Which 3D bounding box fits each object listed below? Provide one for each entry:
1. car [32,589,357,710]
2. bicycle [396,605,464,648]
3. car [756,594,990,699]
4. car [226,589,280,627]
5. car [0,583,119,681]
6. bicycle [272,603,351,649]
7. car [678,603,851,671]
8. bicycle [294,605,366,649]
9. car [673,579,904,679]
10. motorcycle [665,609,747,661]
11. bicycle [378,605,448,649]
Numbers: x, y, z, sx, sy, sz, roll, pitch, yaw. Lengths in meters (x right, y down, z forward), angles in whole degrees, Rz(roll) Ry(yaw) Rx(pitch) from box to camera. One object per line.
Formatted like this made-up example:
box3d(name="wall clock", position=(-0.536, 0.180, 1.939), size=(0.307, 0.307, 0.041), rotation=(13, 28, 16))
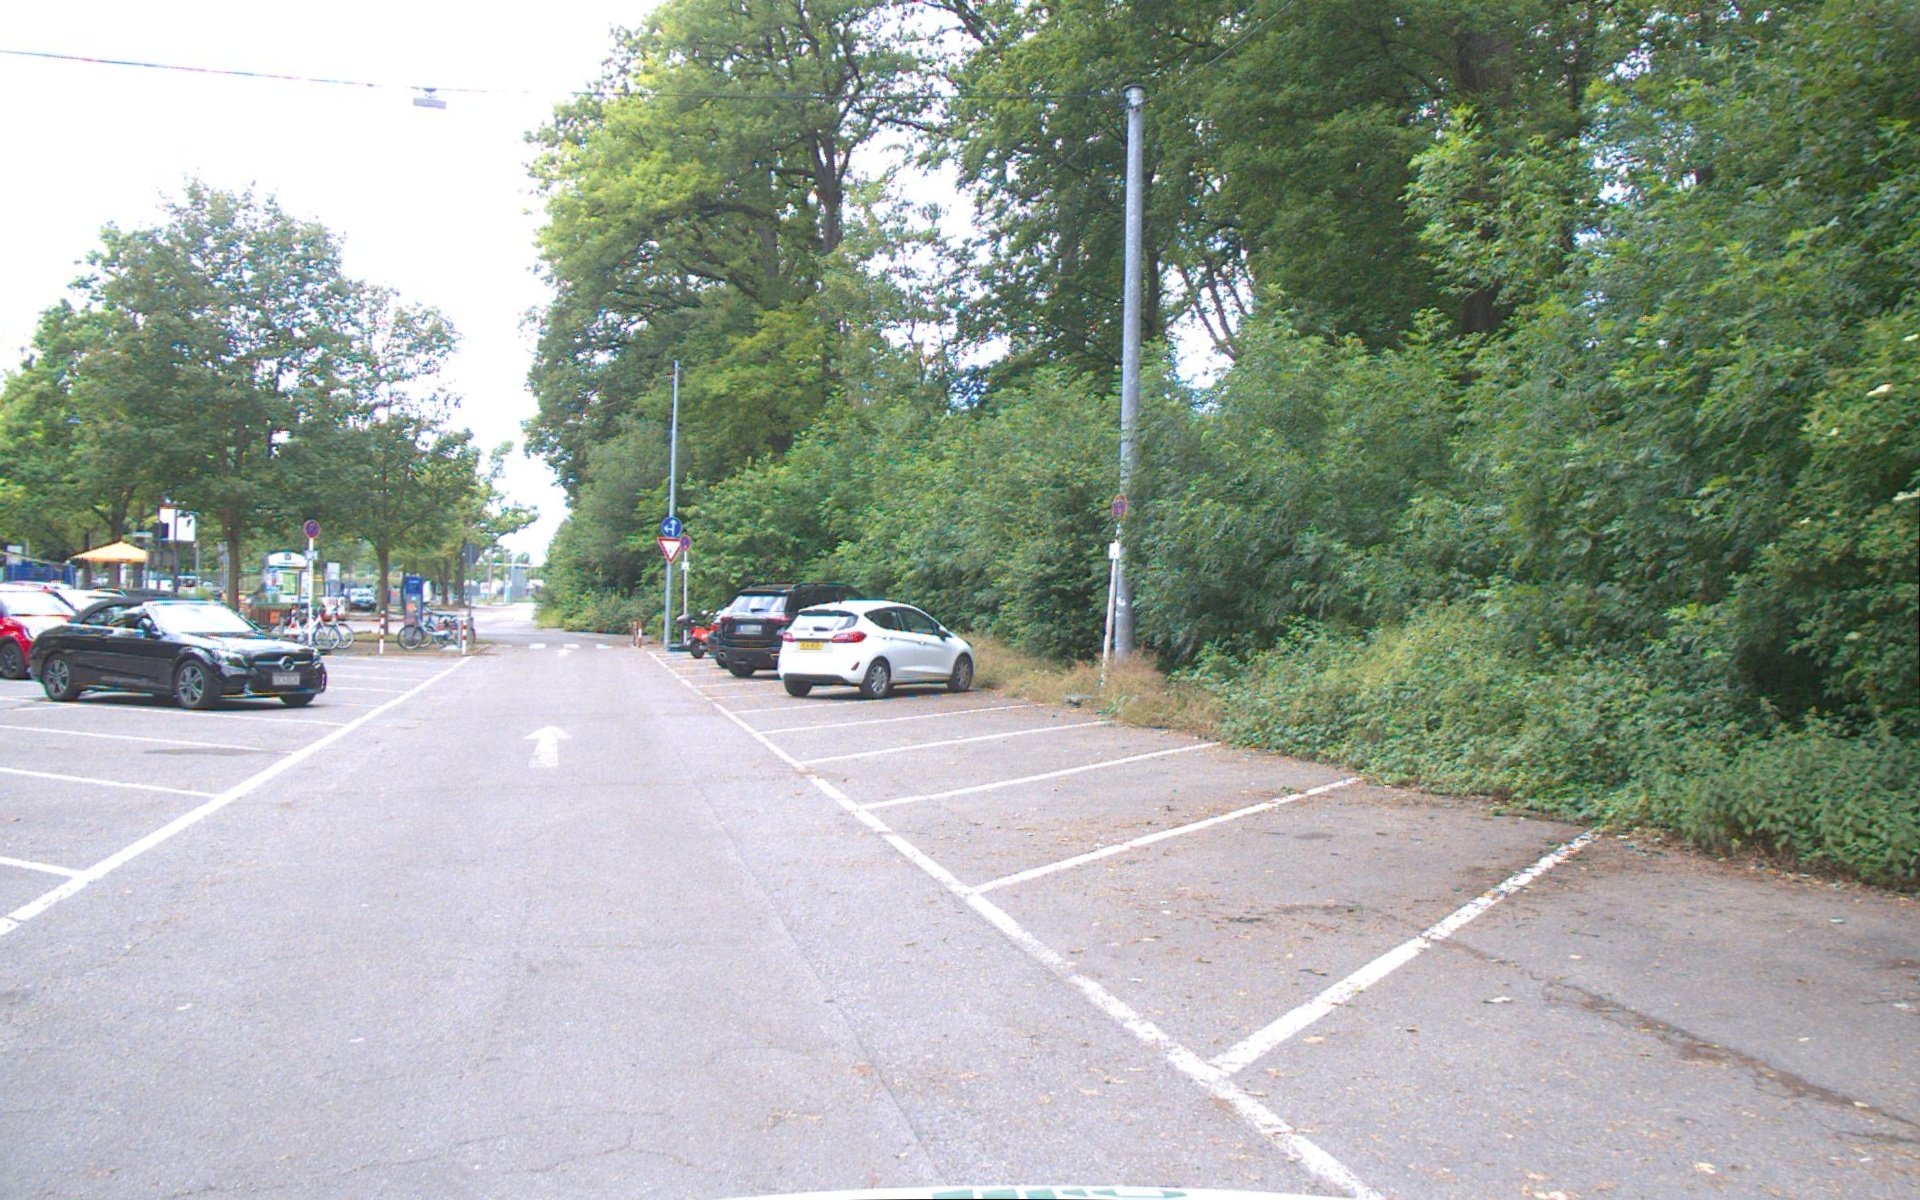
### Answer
box3d(name="car", position=(-10.451, 0.624, 22.544), size=(4.220, 1.467, 1.867), rotation=(1, 0, 28))
box3d(name="bicycle", position=(-14.252, 0.707, 44.520), size=(1.659, 1.131, 0.482), rotation=(1, 0, -6))
box3d(name="car", position=(-1.319, 0.714, 26.679), size=(1.830, 1.537, 3.990), rotation=(1, -1, 31))
box3d(name="car", position=(-33.456, 0.368, 78.184), size=(1.909, 1.699, 4.303), rotation=(1, 0, -29))
box3d(name="car", position=(-16.654, 0.518, 28.966), size=(3.573, 1.613, 1.684), rotation=(1, 0, 28))
box3d(name="bicycle", position=(-16.262, 0.660, 41.495), size=(1.751, 1.131, 0.481), rotation=(1, 0, -11))
box3d(name="car", position=(-4.273, 0.779, 36.706), size=(1.703, 1.400, 3.990), rotation=(1, 0, 31))
box3d(name="bicycle", position=(-16.325, 0.699, 42.890), size=(1.649, 1.131, 0.481), rotation=(1, 0, -11))
box3d(name="car", position=(-3.254, 0.553, 32.368), size=(2.067, 1.798, 4.697), rotation=(1, -1, 31))
box3d(name="motorcycle", position=(-6.244, 0.845, 40.713), size=(0.717, 1.229, 2.018), rotation=(1, 0, 41))
box3d(name="bicycle", position=(-14.372, 0.703, 43.479), size=(1.648, 1.131, 0.505), rotation=(1, 0, -8))
